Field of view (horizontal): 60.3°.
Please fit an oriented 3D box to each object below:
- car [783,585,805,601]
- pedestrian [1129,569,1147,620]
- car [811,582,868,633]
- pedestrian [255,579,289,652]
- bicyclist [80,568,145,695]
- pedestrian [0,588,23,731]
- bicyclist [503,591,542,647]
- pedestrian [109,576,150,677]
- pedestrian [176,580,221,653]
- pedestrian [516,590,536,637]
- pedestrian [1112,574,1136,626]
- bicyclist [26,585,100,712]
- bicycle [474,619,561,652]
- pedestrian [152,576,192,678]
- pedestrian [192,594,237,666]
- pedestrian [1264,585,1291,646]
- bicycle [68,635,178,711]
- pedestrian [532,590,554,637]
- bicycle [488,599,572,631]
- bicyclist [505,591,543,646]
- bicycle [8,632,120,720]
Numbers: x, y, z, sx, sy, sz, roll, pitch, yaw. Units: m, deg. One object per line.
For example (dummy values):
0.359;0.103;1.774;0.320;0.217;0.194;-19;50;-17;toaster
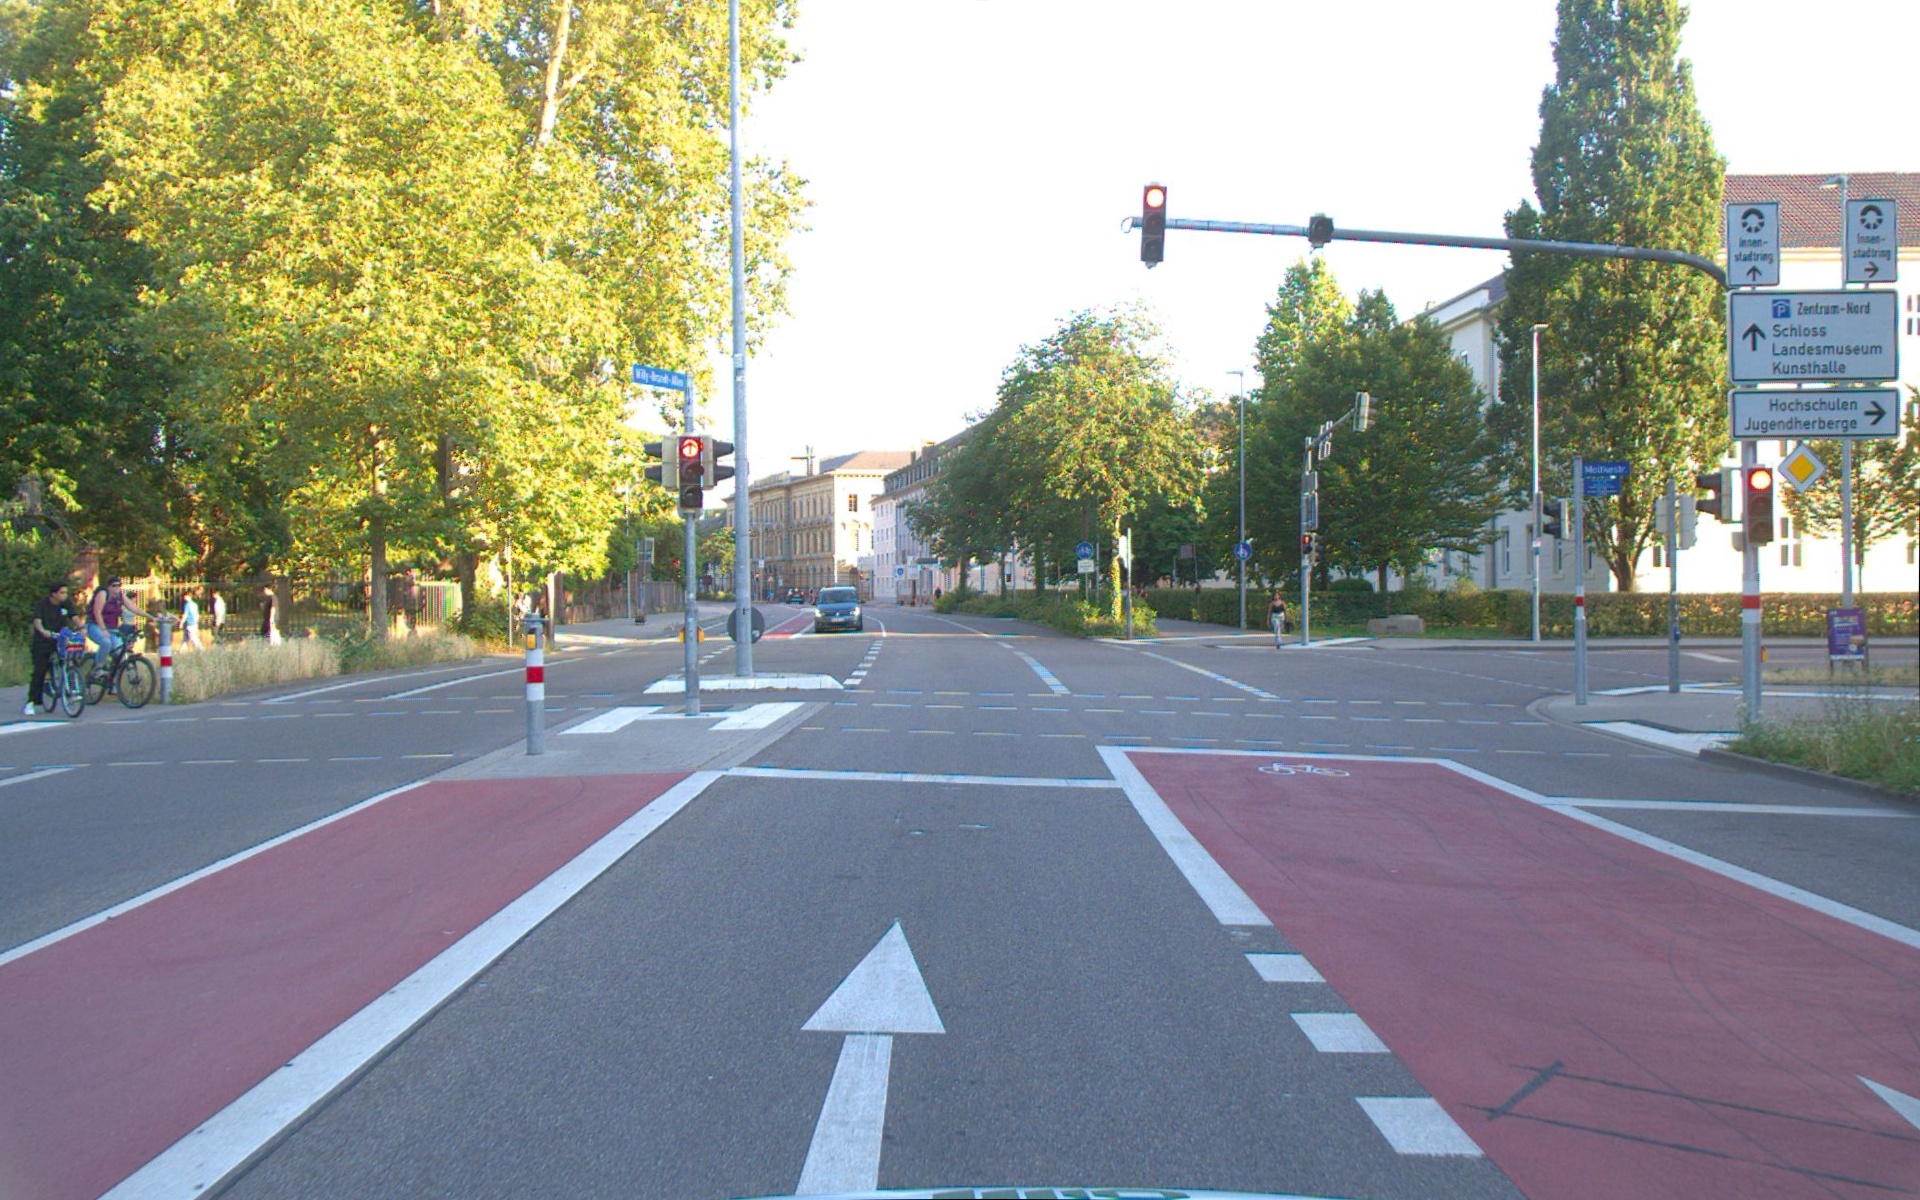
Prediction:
-17.914;-0.749;178.905;1.789;1.616;3.985;-2;1;-14;car
7.219;-0.221;67.102;0.622;2.049;0.720;0;0;-4;pedestrian
-4.486;0.248;61.909;1.812;1.750;4.295;-2;0;-1;car
-19.696;0.439;47.352;0.626;2.049;0.701;-1;0;1;pedestrian
-12.359;0.451;24.123;0.625;1.811;0.575;0;0;30;bicyclist
-11.907;0.723;20.221;0.594;1.725;0.498;-1;0;1;pedestrian
-13.076;0.571;49.471;0.938;1.659;0.753;-1;0;0;bicyclist
-17.089;0.527;34.023;0.644;2.049;0.598;0;0;-39;pedestrian
-21.543;0.462;46.813;0.786;2.049;0.993;0;0;-1;pedestrian
-15.040;0.457;57.319;0.524;1.624;0.590;-1;0;0;pedestrian
6.568;0.000;66.284;0.852;2.049;0.722;0;0;-1;pedestrian
-12.122;0.639;22.357;0.625;1.678;0.629;0;0;30;bicyclist
-13.216;1.070;49.466;2.380;0.940;0.775;-1;0;0;bicycle
-16.112;0.542;33.825;0.590;2.049;0.632;0;0;-40;pedestrian
-21.622;0.853;48.002;0.744;2.049;1.077;0;0;4;pedestrian
8.798;0.423;45.886;0.587;1.664;0.691;0;1;-1;pedestrian
-12.159;1.046;24.012;1.733;1.048;0.578;0;0;31;bicycle
-14.407;0.463;57.169;0.587;1.601;0.646;-1;0;0;pedestrian
-13.252;0.465;51.024;2.380;0.940;0.775;-1;0;0;bicycle
-13.444;0.561;51.021;0.938;1.659;0.753;-1;0;0;bicyclist
-12.107;1.008;22.349;1.534;1.130;0.632;0;0;31;bicycle
